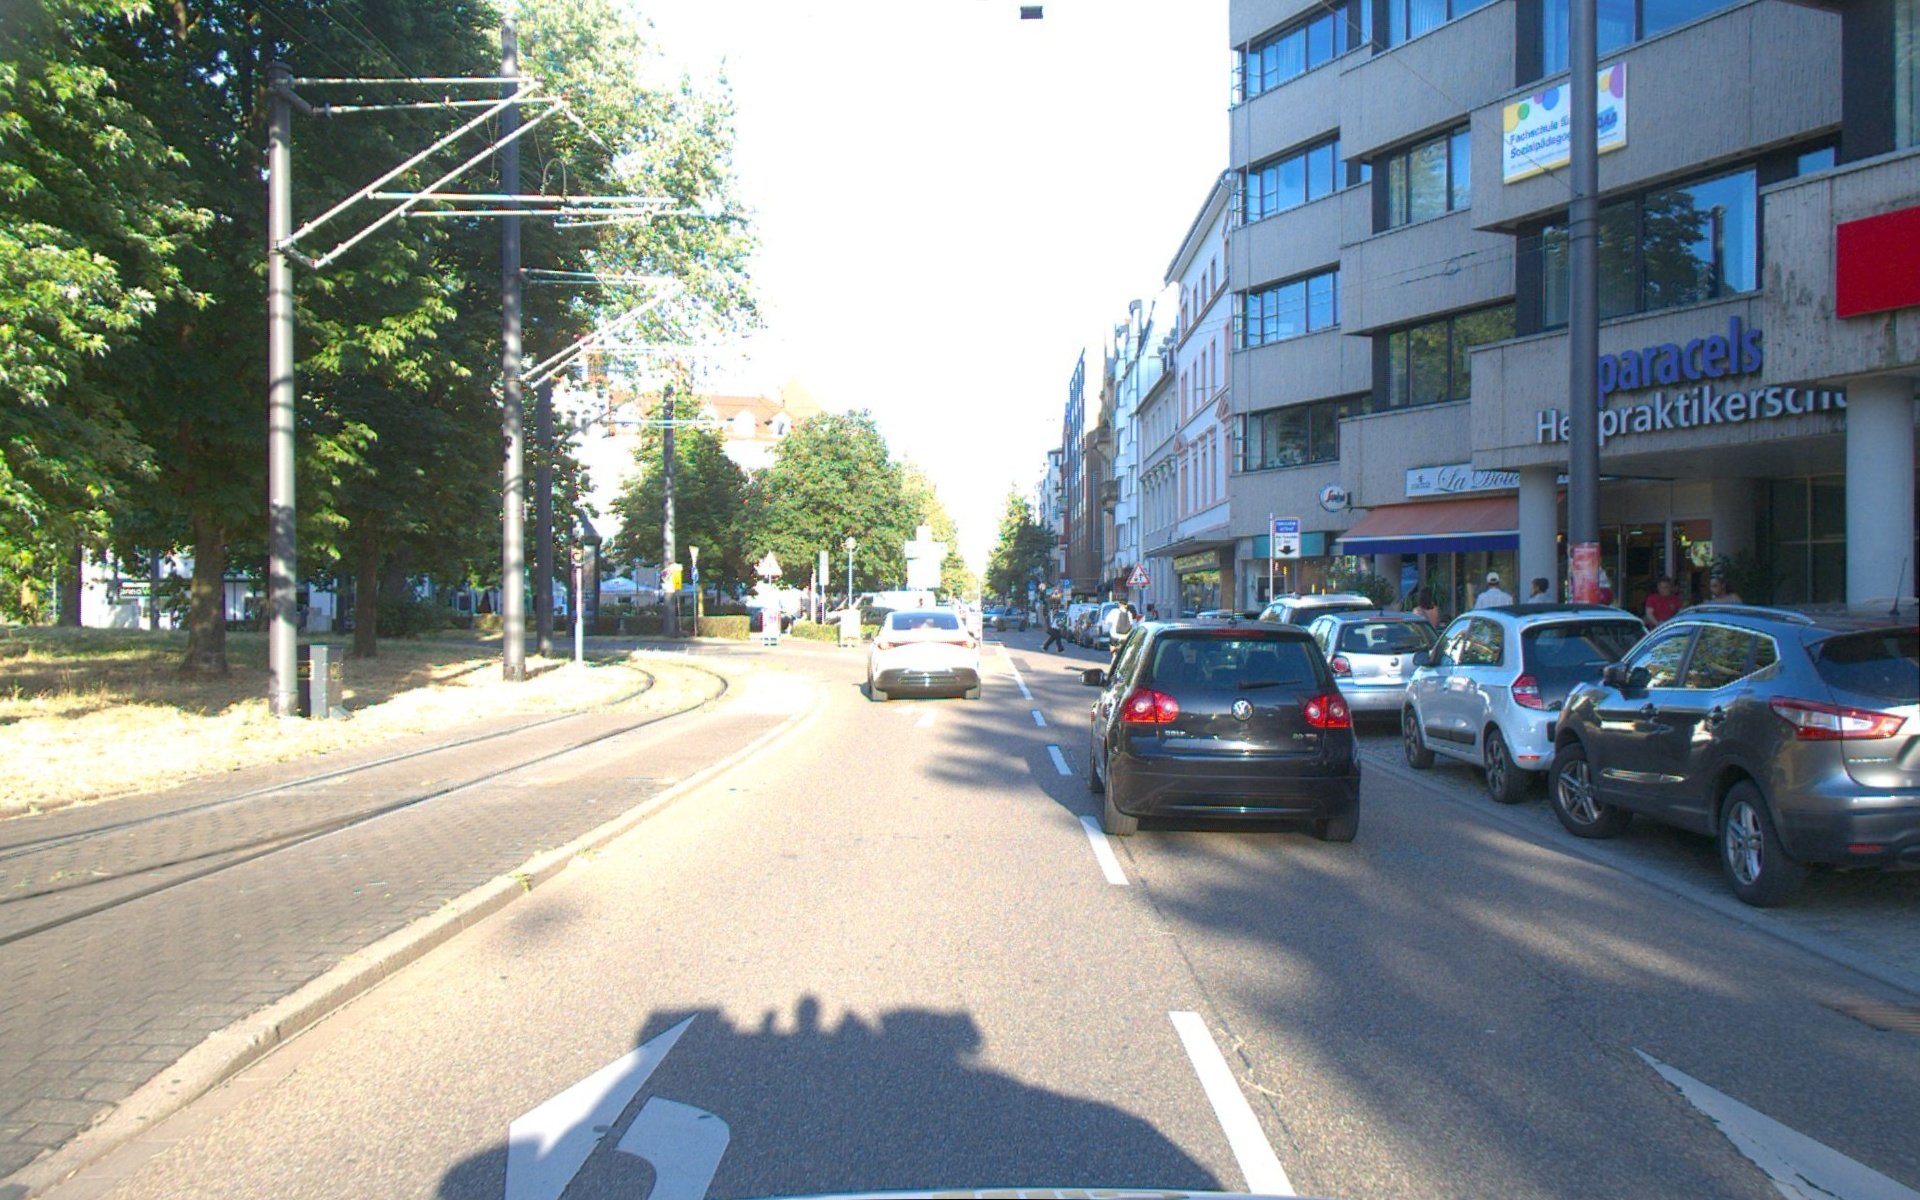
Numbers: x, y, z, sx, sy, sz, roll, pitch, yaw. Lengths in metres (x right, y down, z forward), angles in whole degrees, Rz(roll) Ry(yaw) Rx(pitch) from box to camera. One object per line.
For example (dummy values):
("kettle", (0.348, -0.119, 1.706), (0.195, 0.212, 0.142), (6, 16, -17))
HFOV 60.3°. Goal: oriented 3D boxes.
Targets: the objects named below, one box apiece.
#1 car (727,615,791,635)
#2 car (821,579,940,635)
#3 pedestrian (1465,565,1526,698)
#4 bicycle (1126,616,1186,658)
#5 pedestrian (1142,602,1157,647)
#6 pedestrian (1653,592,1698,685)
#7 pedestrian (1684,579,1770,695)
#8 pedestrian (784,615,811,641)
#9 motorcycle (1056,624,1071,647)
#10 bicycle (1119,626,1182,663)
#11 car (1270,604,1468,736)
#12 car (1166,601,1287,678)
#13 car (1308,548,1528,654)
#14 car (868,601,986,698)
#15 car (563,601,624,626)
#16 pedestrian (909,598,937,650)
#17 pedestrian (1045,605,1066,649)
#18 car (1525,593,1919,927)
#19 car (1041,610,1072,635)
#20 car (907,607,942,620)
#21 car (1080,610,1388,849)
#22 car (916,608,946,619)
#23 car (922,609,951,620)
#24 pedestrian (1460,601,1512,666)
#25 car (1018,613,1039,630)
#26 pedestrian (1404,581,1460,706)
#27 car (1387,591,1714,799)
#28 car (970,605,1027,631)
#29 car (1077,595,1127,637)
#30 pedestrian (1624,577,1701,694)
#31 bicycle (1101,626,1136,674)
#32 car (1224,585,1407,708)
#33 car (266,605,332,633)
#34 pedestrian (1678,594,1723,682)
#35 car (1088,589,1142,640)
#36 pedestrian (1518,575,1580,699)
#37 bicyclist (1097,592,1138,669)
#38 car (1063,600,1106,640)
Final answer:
("car", (-13.336, 1.638, 109.795), (3.932, 1.324, 1.840), (1, -1, -23))
("car", (-3.848, 0.363, 80.379), (5.443, 2.640, 2.137), (1, -1, -26))
("pedestrian", (7.852, 0.455, 24.259), (0.609, 1.890, 0.662), (-3, -1, 1))
("bicycle", (5.572, 1.066, 47.068), (1.574, 1.138, 0.610), (-2, 0, 34))
("pedestrian", (6.941, 0.892, 60.569), (0.491, 1.653, 0.496), (1, 0, 0))
("pedestrian", (13.931, 0.749, 32.208), (0.589, 1.790, 0.518), (1, -1, -23))
("pedestrian", (11.519, 0.545, 24.840), (0.635, 1.702, 0.978), (-1, 0, -39))
("pedestrian", (-7.975, 1.371, 80.948), (1.083, 1.248, 0.853), (1, -1, -26))
("motorcycle", (5.627, 1.924, 89.912), (0.477, 1.195, 1.605), (-2, 0, -7))
("bicycle", (5.898, 1.385, 51.226), (1.812, 1.064, 0.579), (-2, 0, 31))
("car", (5.107, 0.819, 21.138), (1.628, 1.466, 3.855), (-2, 0, 2))
("car", (5.512, 0.789, 34.621), (1.629, 1.466, 3.820), (-2, 0, -4))
("car", (11.568, 0.006, 41.726), (5.250, 2.485, 2.075), (-1, -1, -26))
("car", (-0.559, 0.824, 28.222), (1.827, 1.466, 4.195), (-2, -1, -1))
("car", (-23.305, 0.862, 105.174), (3.563, 1.579, 1.651), (1, -1, -23))
("pedestrian", (-1.258, 0.799, 56.040), (0.843, 1.736, 0.940), (1, -1, -6))
("pedestrian", (3.416, 0.968, 59.223), (0.721, 1.582, 0.632), (0, -1, 1))
("car", (5.092, 0.784, 10.247), (1.745, 1.584, 4.235), (-2, 0, 1))
("car", (6.192, 1.468, 106.710), (1.716, 1.537, 3.544), (-1, -1, -1))
("car", (-3.669, 1.366, 170.470), (3.322, 1.310, 1.666), (1, 0, -15))
("car", (1.881, 0.826, 12.501), (1.711, 1.486, 4.103), (1, 0, 1))
("car", (-3.546, 1.683, 201.650), (3.322, 1.310, 1.666), (1, 0, -15))
("car", (-2.953, 1.805, 209.384), (3.322, 1.310, 1.666), (1, 0, -15))
("pedestrian", (10.807, 0.680, 33.974), (0.757, 1.304, 0.656), (-1, -1, -28))
("car", (6.354, 2.005, 154.387), (1.716, 1.537, 3.544), (-1, -1, -1))
("pedestrian", (6.947, 0.636, 24.374), (0.567, 1.790, 0.662), (-3, -1, 1))
("car", (5.154, 0.755, 14.929), (1.575, 1.584, 3.609), (-2, 0, -1))
("car", (2.773, 1.272, 118.434), (1.965, 1.803, 3.974), (0, 0, 43))
("car", (5.787, 0.657, 67.848), (1.699, 1.645, 3.916), (-1, -1, 0))
("pedestrian", (10.787, 0.533, 25.394), (1.023, 1.757, 0.689), (-1, 0, -40))
("bicycle", (3.453, 1.082, 36.193), (0.567, 1.004, 1.935), (1, -1, 0))
("car", (5.625, 0.701, 26.744), (1.829, 1.743, 4.503), (-2, 0, -1))
("car", (-38.857, 1.124, 97.319), (3.563, 1.579, 1.651), (1, -1, -23))
("pedestrian", (14.174, 0.724, 31.660), (0.589, 1.678, 0.518), (1, -1, -23))
("car", (5.878, 0.559, 63.045), (1.699, 1.831, 3.916), (-1, -1, 0))
("pedestrian", (8.621, 0.538, 24.222), (0.609, 1.770, 0.662), (-3, -1, 1))
("bicyclist", (3.437, 0.652, 36.160), (0.761, 1.646, 1.025), (1, -1, 0))
("car", (6.043, 0.961, 80.742), (1.885, 1.873, 4.018), (-1, -1, 1))
